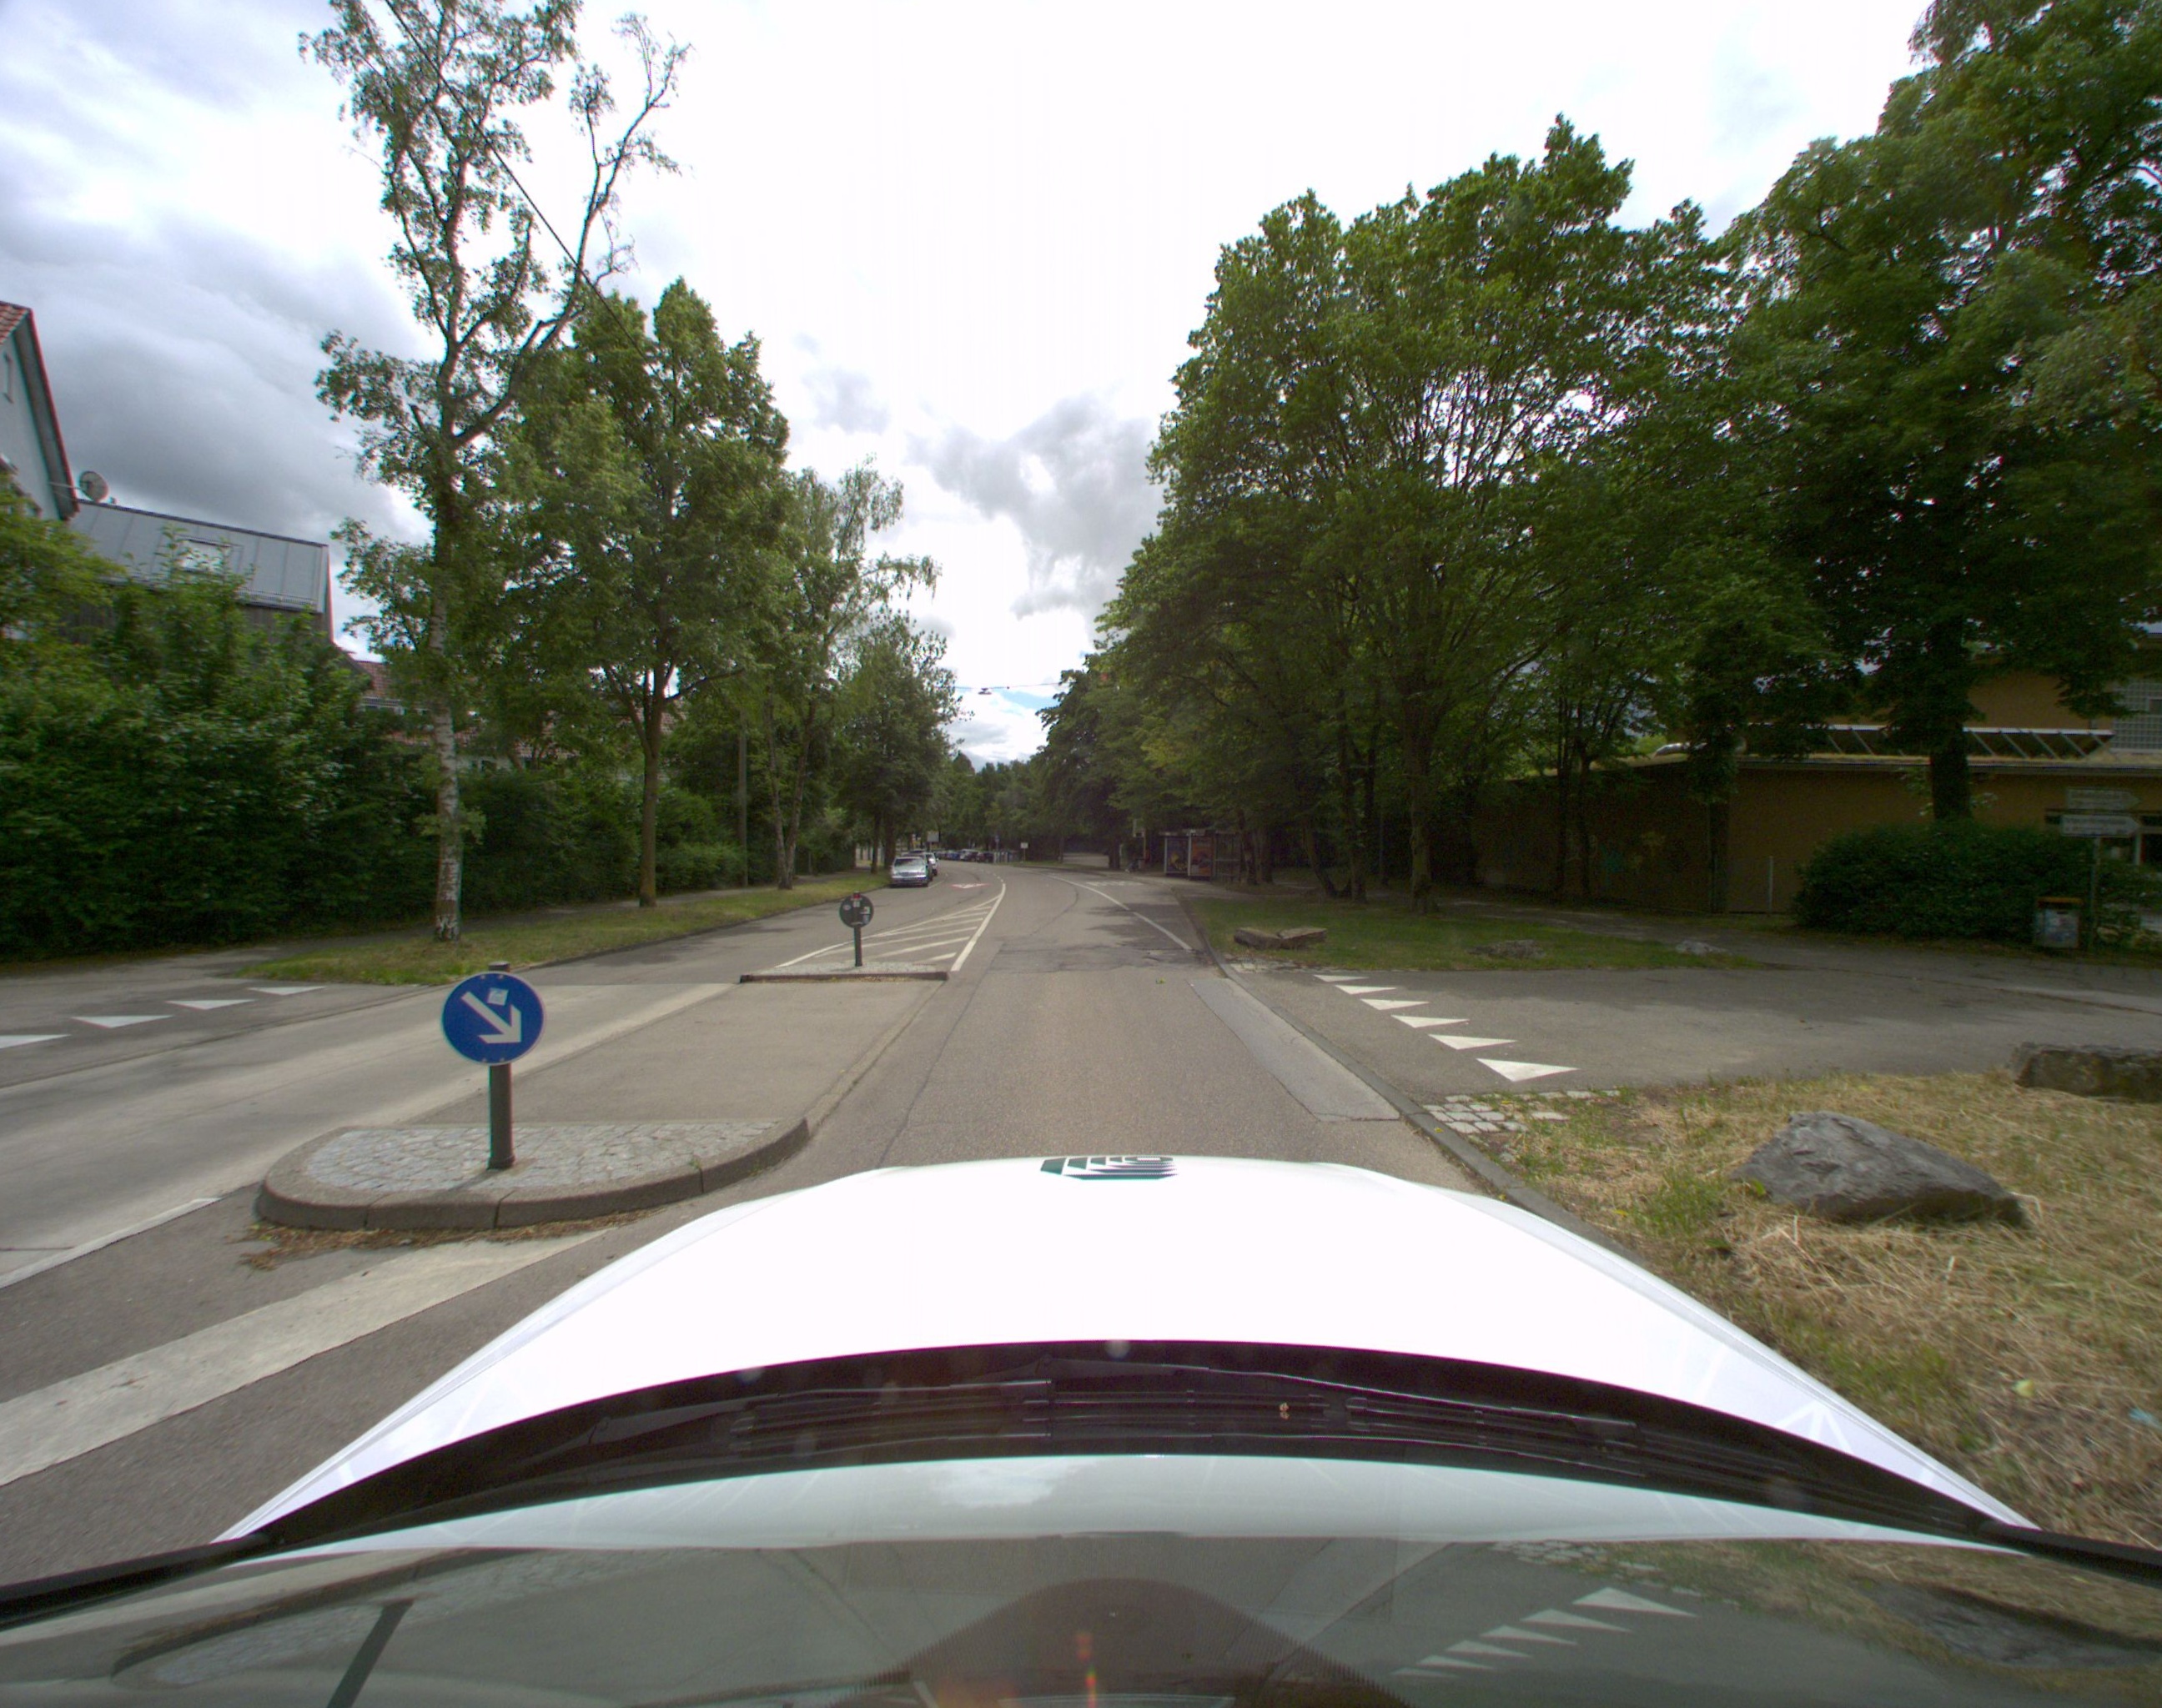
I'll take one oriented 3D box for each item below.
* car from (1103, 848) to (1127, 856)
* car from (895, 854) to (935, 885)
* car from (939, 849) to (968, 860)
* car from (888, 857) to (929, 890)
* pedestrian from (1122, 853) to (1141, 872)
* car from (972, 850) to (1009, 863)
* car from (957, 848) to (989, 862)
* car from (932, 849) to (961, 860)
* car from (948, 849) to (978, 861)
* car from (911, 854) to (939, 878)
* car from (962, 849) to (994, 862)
[{"bbox_3d":[6.030,-0.369,144.176,3.994,1.409,1.791,-1,0,-15],"label":"car"},{"bbox_3d":[-9.055,0.825,44.717,1.733,1.538,4.180,-2,0,-6],"label":"car"},{"bbox_3d":[-18.709,0.045,119.645,3.850,1.528,1.726,3,-2,-40],"label":"car"},{"bbox_3d":[-8.162,0.861,38.487,1.737,1.416,4.453,-2,0,-12],"label":"car"},{"bbox_3d":[3.295,0.555,53.242,1.064,1.182,0.578,-1,0,-12],"label":"pedestrian"},{"bbox_3d":[-11.174,0.347,100.357,4.020,1.414,2.034,3,0,-40],"label":"car"},{"bbox_3d":[-14.675,0.144,110.860,3.850,1.720,1.856,3,-2,-40],"label":"car"},{"bbox_3d":[-20.200,0.057,122.417,3.905,1.426,1.809,3,-2,-40],"label":"car"},{"bbox_3d":[-16.683,0.175,115.227,3.850,1.528,1.726,3,-2,-40],"label":"car"},{"bbox_3d":[-10.755,0.811,56.282,1.735,1.578,4.128,-2,0,-9],"label":"car"},{"bbox_3d":[-13.674,0.205,108.344,3.850,1.468,1.726,3,-1,-40],"label":"car"}]
